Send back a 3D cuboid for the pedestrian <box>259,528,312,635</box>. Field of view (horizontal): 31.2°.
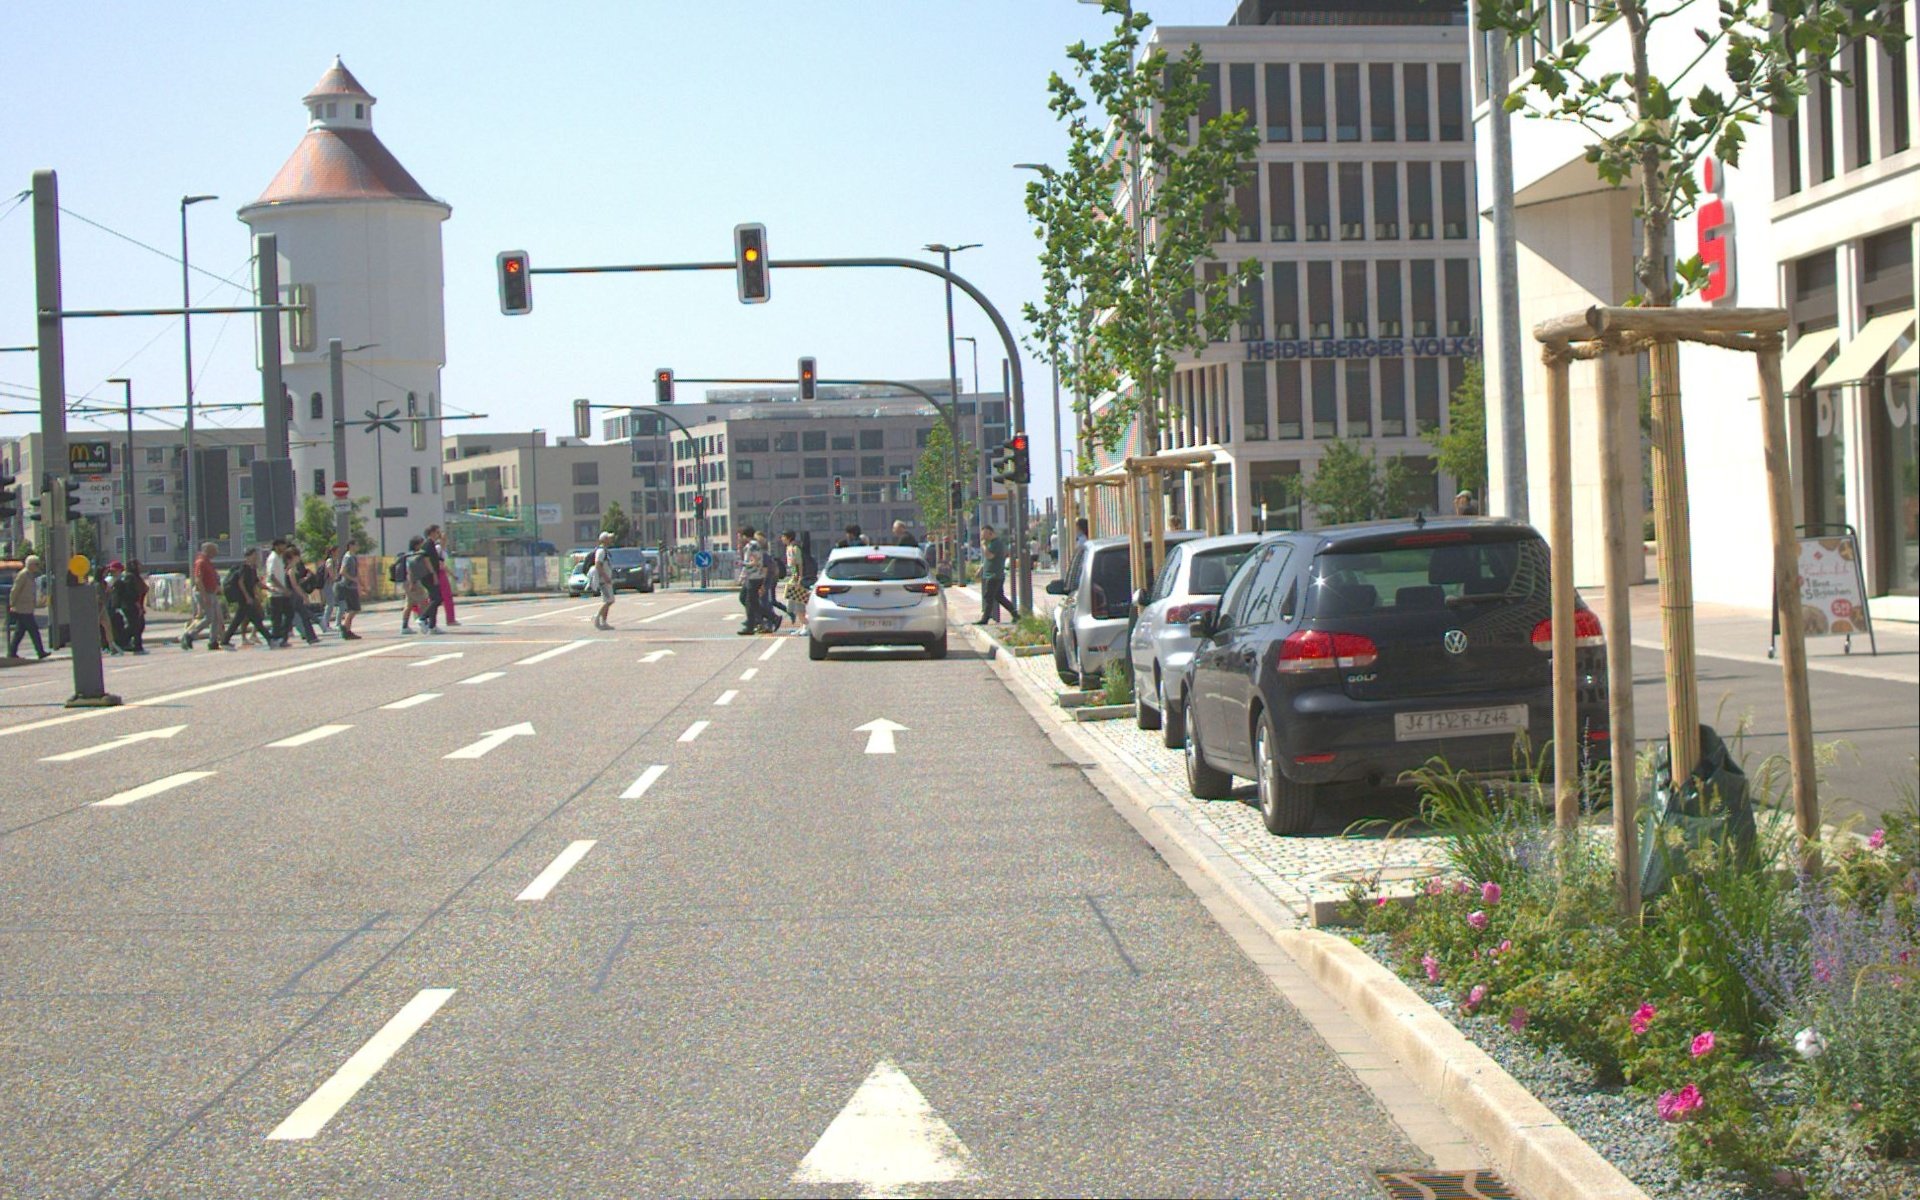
[{"bbox_3d":[-12.034,-0.332,61.369,0.734,1.884,0.713,-1,1,4],"label":"pedestrian"}]

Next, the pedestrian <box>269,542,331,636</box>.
[{"bbox_3d":[-12.089,-0.210,62.932,0.893,1.668,1.013,-3,1,-19],"label":"pedestrian"}]

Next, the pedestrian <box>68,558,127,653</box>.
[{"bbox_3d":[-14.648,0.087,58.395,0.728,1.570,0.641,-3,1,4],"label":"pedestrian"}]

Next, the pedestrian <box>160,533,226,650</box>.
[{"bbox_3d":[-12.732,-0.149,57.088,0.887,1.884,0.692,-3,1,-6],"label":"pedestrian"}]

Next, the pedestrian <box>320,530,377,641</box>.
[{"bbox_3d":[-10.569,-0.257,59.446,0.766,1.884,0.692,-3,1,0],"label":"pedestrian"}]

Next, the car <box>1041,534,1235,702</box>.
[{"bbox_3d":[1.675,0.132,33.276,1.556,1.467,3.470,-3,1,-1],"label":"car"}]

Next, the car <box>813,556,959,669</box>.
[{"bbox_3d":[-0.935,0.160,45.138,1.771,1.390,3.532,-1,0,1],"label":"car"}]

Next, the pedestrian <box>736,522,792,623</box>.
[{"bbox_3d":[-3.281,-0.472,57.750,0.794,1.641,0.891,-3,1,1],"label":"pedestrian"}]

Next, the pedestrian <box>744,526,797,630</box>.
[{"bbox_3d":[-3.230,-0.383,58.635,0.766,1.728,0.692,-3,1,0],"label":"pedestrian"}]

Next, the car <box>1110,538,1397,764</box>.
[{"bbox_3d":[2.070,0.312,25.198,1.605,1.383,3.815,-5,1,-1],"label":"car"}]

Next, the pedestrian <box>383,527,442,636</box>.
[{"bbox_3d":[-9.720,-0.338,61.077,0.841,1.884,0.692,-3,1,0],"label":"pedestrian"}]

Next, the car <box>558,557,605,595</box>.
[{"bbox_3d":[-15.930,-0.998,144.639,1.586,1.525,3.258,-2,0,0],"label":"car"}]

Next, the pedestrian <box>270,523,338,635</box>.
[{"bbox_3d":[-12.215,-0.393,64.001,1.020,2.007,0.954,-3,1,-19],"label":"pedestrian"}]

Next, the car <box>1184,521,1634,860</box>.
[{"bbox_3d":[2.204,0.374,17.876,1.736,1.469,3.980,-3,1,0],"label":"car"}]

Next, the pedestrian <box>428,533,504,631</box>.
[{"bbox_3d":[-9.568,-0.350,66.568,1.181,1.814,1.068,-3,1,3],"label":"pedestrian"}]

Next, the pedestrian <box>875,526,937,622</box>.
[{"bbox_3d":[-0.948,-0.463,60.595,0.887,1.641,0.796,-3,1,-10],"label":"pedestrian"}]

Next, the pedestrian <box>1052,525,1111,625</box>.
[{"bbox_3d":[2.037,-0.423,57.465,0.767,1.614,0.691,-3,1,16],"label":"pedestrian"}]

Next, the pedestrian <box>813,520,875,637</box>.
[{"bbox_3d":[-1.932,-0.358,57.104,0.887,1.884,0.796,-3,1,-6],"label":"pedestrian"}]

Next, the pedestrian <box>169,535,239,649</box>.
[{"bbox_3d":[-12.884,-0.149,58.614,0.888,1.884,0.796,-3,1,4],"label":"pedestrian"}]

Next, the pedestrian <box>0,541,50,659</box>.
[{"bbox_3d":[-15.349,-0.010,56.184,0.636,1.884,0.796,-3,1,1],"label":"pedestrian"}]

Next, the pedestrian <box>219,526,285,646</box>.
[{"bbox_3d":[-11.408,-0.236,55.429,0.887,1.884,0.692,-3,1,-6],"label":"pedestrian"}]

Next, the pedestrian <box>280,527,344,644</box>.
[{"bbox_3d":[-10.720,-0.249,56.889,0.887,1.884,0.692,-3,1,-6],"label":"pedestrian"}]

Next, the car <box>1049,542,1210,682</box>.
[{"bbox_3d":[1.832,0.094,38.047,1.429,1.385,4.000,-3,1,-1],"label":"car"}]

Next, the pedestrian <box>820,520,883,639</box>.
[{"bbox_3d":[-1.784,-0.337,56.249,0.887,1.884,0.796,-3,1,-6],"label":"pedestrian"}]

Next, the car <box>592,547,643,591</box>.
[{"bbox_3d":[-12.403,-1.119,124.618,1.586,1.525,3.693,-2,0,-2],"label":"car"}]

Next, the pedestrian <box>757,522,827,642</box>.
[{"bbox_3d":[-2.709,-0.294,55.435,1.013,1.884,0.798,-3,1,-4],"label":"pedestrian"}]

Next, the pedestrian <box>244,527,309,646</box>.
[{"bbox_3d":[-11.145,-0.222,56.065,0.887,1.884,0.692,-3,1,-6],"label":"pedestrian"}]

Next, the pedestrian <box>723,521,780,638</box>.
[{"bbox_3d":[-3.443,-0.343,56.763,0.730,1.884,0.821,-3,1,5],"label":"pedestrian"}]

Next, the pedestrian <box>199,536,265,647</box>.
[{"bbox_3d":[-12.668,-0.156,59.810,0.888,1.884,0.796,-3,1,-1],"label":"pedestrian"}]

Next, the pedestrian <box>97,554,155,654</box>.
[{"bbox_3d":[-13.802,0.059,56.899,0.633,1.612,0.768,-3,1,5],"label":"pedestrian"}]

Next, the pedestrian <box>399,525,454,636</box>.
[{"bbox_3d":[-9.333,-0.346,60.152,0.766,1.884,0.692,-3,1,0],"label":"pedestrian"}]

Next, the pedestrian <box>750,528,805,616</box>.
[{"bbox_3d":[-3.490,-0.539,65.893,0.888,1.641,0.796,-3,1,3],"label":"pedestrian"}]

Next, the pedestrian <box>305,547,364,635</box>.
[{"bbox_3d":[-12.112,-0.172,66.583,0.888,1.641,0.796,-3,1,3],"label":"pedestrian"}]

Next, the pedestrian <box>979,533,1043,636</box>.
[{"bbox_3d":[0.833,-0.261,56.470,0.887,1.629,0.692,-3,1,-6],"label":"pedestrian"}]

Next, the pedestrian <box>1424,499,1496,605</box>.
[{"bbox_3d":[8.088,-0.784,55.650,0.990,1.649,0.692,-3,1,1],"label":"pedestrian"}]

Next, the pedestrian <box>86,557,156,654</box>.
[{"bbox_3d":[-14.733,0.095,60.360,0.910,1.631,0.814,-3,1,4],"label":"pedestrian"}]

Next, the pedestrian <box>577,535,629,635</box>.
[{"bbox_3d":[-6.347,-0.277,61.137,0.766,1.728,0.692,-3,1,0],"label":"pedestrian"}]
